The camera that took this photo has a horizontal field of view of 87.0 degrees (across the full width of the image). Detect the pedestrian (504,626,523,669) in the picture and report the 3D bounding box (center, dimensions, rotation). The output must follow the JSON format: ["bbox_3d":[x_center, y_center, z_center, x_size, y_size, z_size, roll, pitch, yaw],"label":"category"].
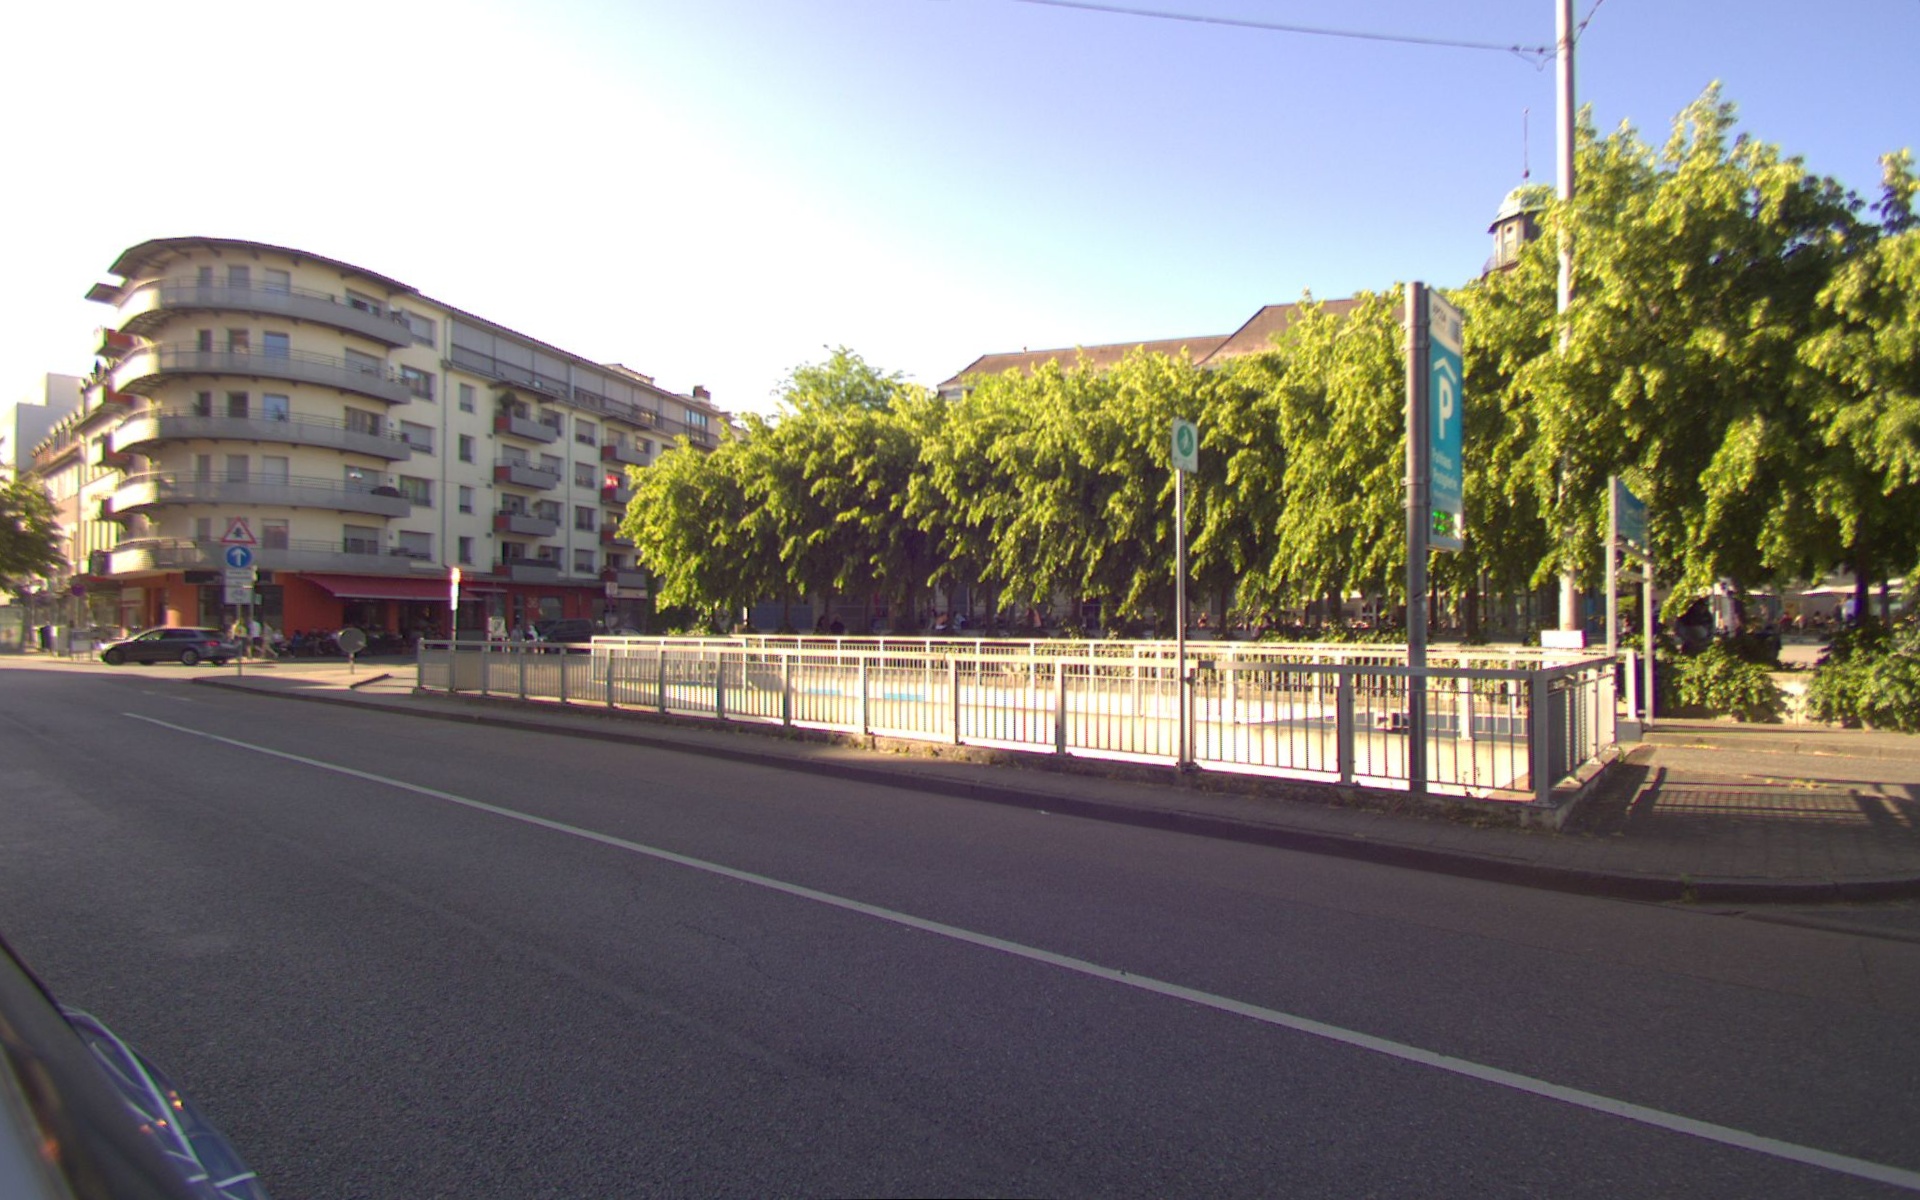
[{"bbox_3d":[-19.055,2.034,43.214,0.574,1.806,0.602,-1,-1,-4],"label":"pedestrian"}]

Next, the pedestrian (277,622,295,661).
[{"bbox_3d":[-29.945,1.842,44.957,0.642,1.721,0.568,-2,-2,43],"label":"pedestrian"}]

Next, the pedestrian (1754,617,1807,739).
[{"bbox_3d":[12.971,1.204,16.003,0.600,1.870,0.575,-1,-1,38],"label":"pedestrian"}]

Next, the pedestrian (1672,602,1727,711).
[{"bbox_3d":[12.900,0.969,17.674,0.674,1.870,0.577,-1,-1,30],"label":"pedestrian"}]

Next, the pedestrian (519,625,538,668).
[{"bbox_3d":[-18.664,2.007,43.785,0.574,1.806,0.601,-1,-1,0],"label":"pedestrian"}]

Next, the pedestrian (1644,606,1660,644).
[{"bbox_3d":[33.460,1.206,48.942,0.599,1.806,0.576,-1,-1,31],"label":"pedestrian"}]

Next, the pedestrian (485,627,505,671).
[{"bbox_3d":[-19.465,2.050,42.388,0.574,1.806,0.602,-1,-1,-4],"label":"pedestrian"}]

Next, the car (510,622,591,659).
[{"bbox_3d":[-22.974,2.250,56.969,1.938,1.927,4.402,-1,-1,17],"label":"car"}]

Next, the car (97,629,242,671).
[{"bbox_3d":[-28.742,1.791,36.899,3.869,1.407,1.808,-1,-1,-2],"label":"car"}]

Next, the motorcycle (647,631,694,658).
[{"bbox_3d":[-12.772,1.953,44.732,1.898,1.110,0.684,0,-1,-27],"label":"motorcycle"}]

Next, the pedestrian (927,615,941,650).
[{"bbox_3d":[-1.381,1.719,53.669,0.578,1.806,0.597,-1,-1,21],"label":"pedestrian"}]

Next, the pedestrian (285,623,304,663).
[{"bbox_3d":[-29.329,1.877,44.610,0.642,1.721,0.568,-2,-2,43],"label":"pedestrian"}]

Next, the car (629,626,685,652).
[{"bbox_3d":[-20.244,2.595,67.792,1.776,1.633,3.914,-1,-1,17],"label":"car"}]

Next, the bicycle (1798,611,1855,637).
[{"bbox_3d":[36.653,1.001,42.840,0.496,1.024,2.061,-1,0,-3],"label":"bicycle"}]

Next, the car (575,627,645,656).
[{"bbox_3d":[-21.503,2.530,62.369,1.938,1.633,4.272,-1,-1,17],"label":"car"}]

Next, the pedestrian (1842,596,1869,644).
[{"bbox_3d":[33.514,0.740,37.879,0.598,1.806,0.577,-1,-1,27],"label":"pedestrian"}]
